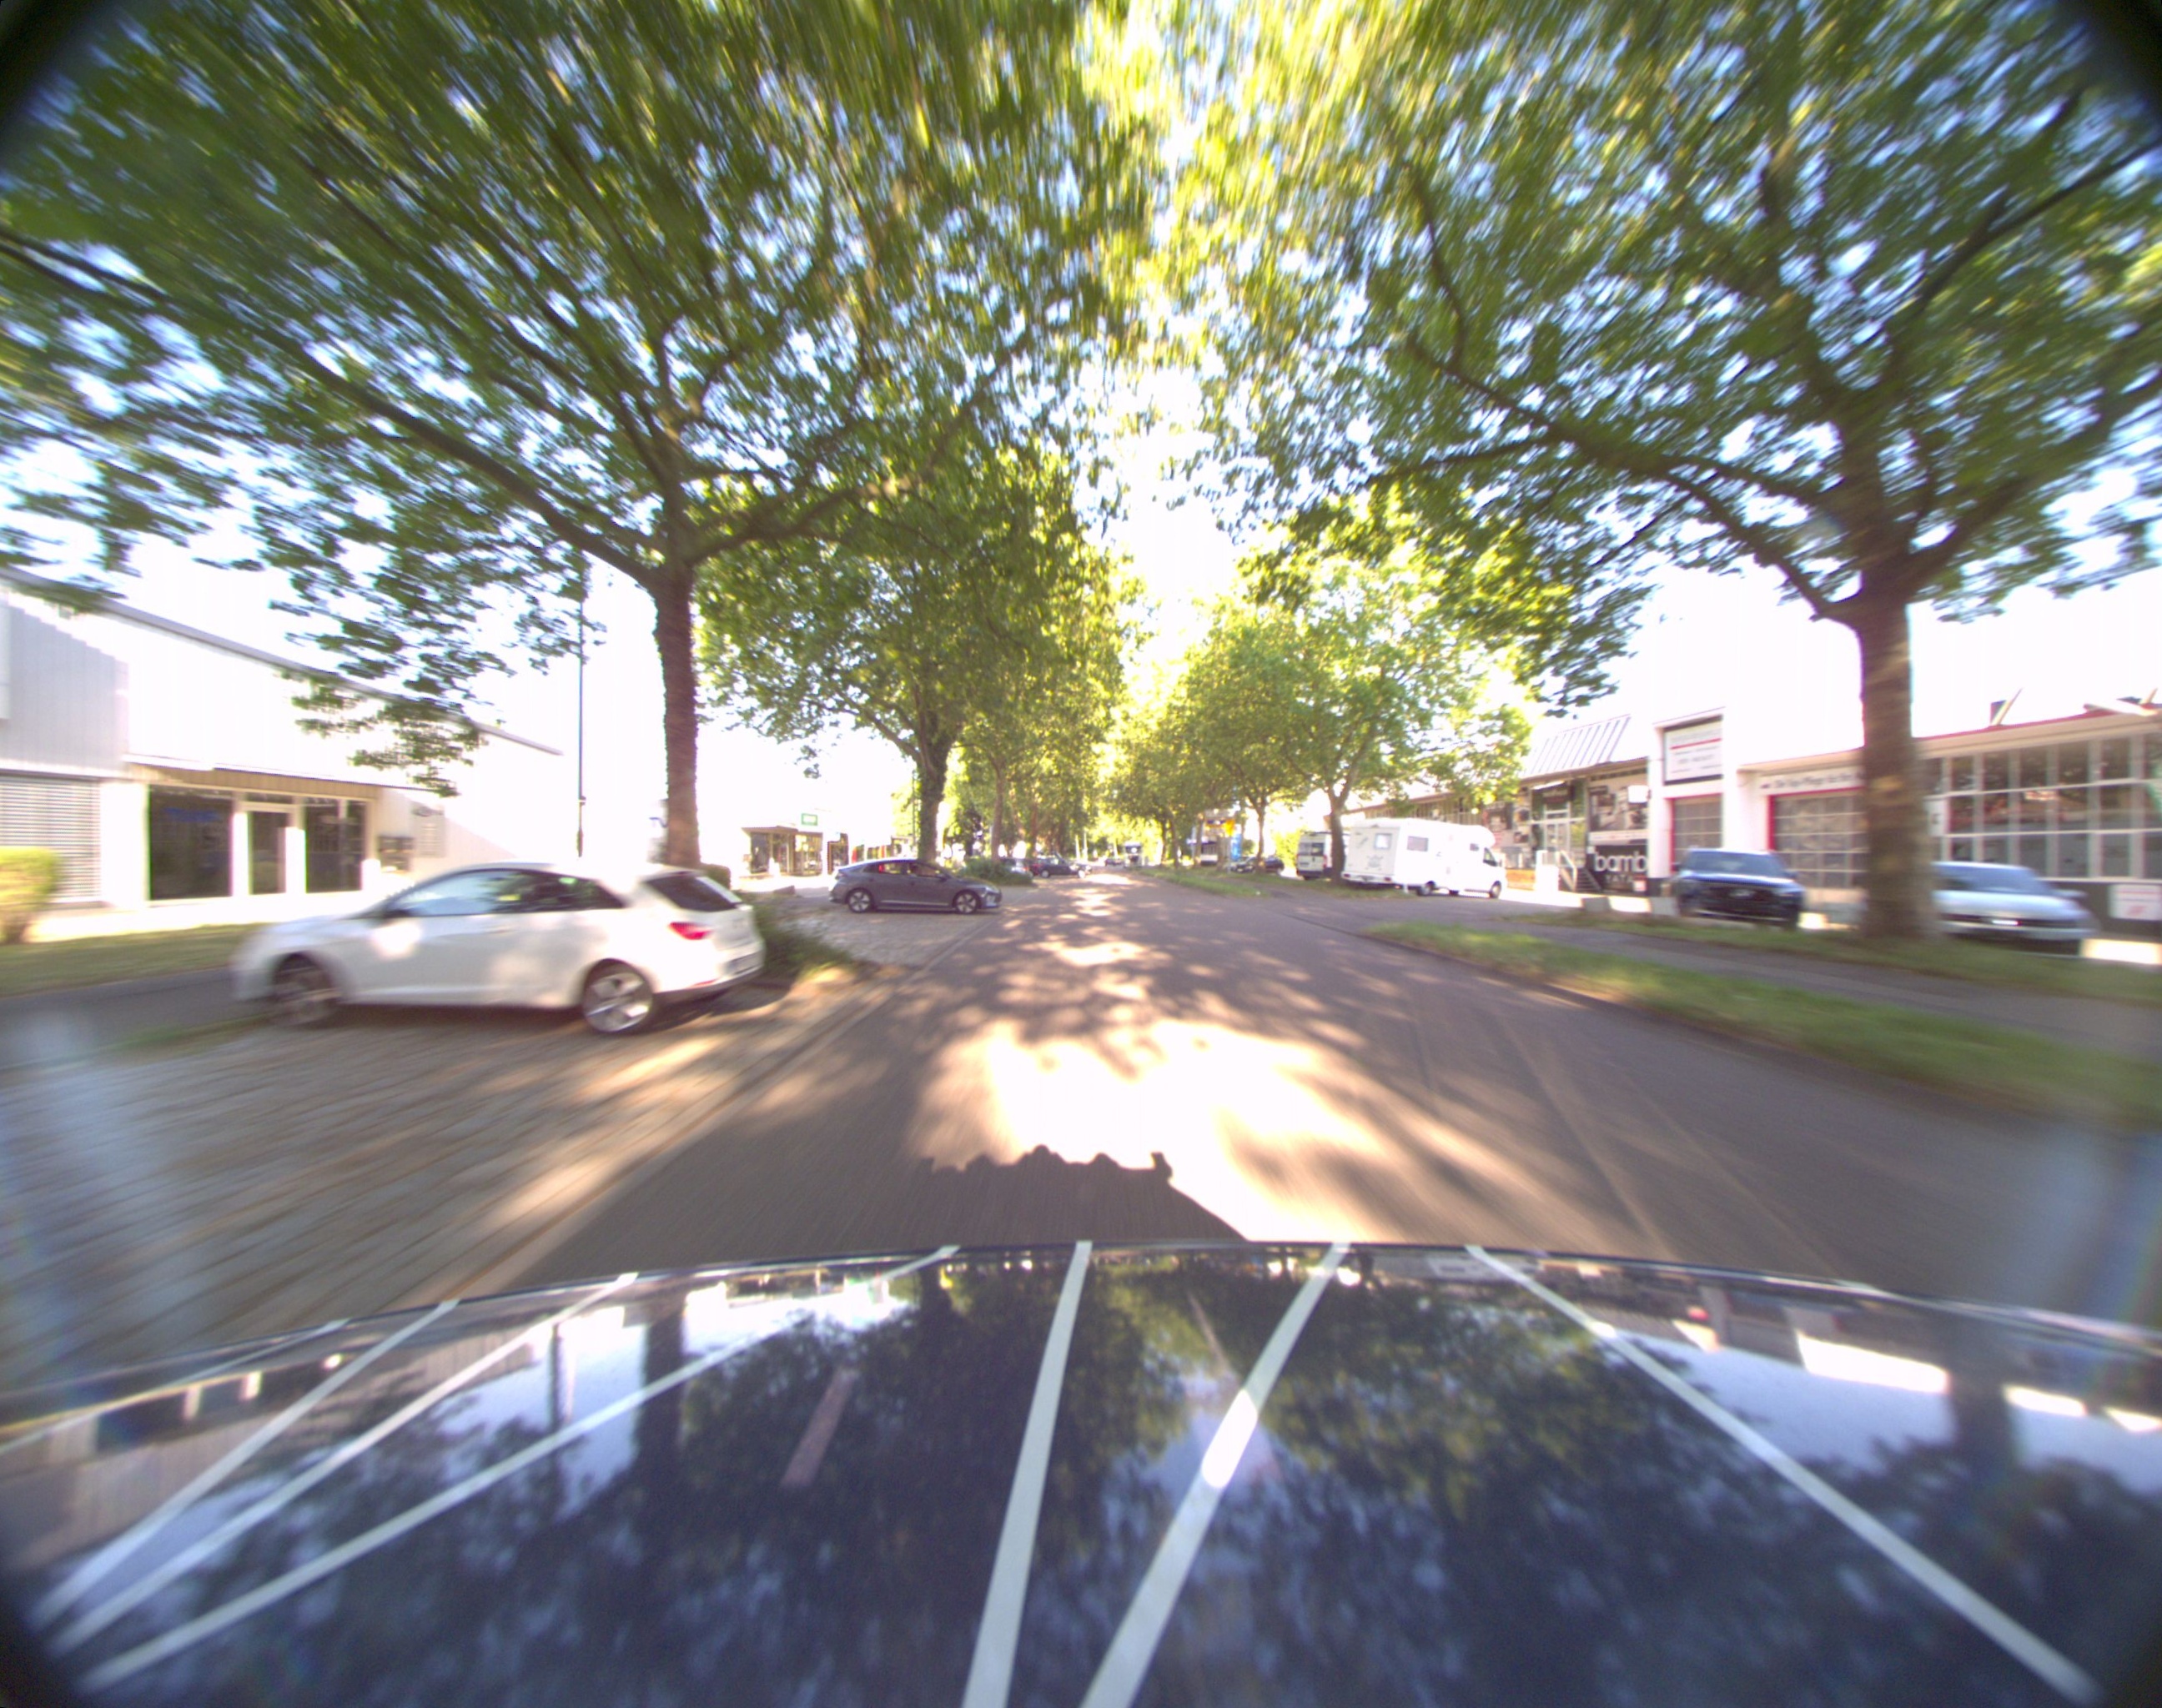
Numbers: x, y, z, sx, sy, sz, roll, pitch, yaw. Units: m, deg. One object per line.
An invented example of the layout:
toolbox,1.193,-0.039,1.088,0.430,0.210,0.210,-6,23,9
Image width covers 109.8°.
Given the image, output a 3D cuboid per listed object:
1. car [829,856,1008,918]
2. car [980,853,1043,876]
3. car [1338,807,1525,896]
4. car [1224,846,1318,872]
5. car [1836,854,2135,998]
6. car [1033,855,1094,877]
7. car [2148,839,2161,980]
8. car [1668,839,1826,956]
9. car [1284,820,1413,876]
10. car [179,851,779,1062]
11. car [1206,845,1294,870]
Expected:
car,-4.194,0.844,20.302,4.405,1.410,1.999,2,1,-5
car,-4.907,0.731,53.579,4.299,1.410,1.999,2,1,-5
car,13.276,0.005,28.627,6.972,2.835,2.596,3,-1,-28
car,14.532,0.387,58.142,6.429,1.669,2.722,3,-1,-18
car,12.835,0.864,11.145,1.994,1.561,4.059,-1,1,38
car,-1.288,0.848,56.173,4.296,1.410,2.000,2,1,3
car,13.188,0.741,7.838,4.321,1.741,1.994,-3,1,-43
car,12.563,0.687,14.607,1.994,1.829,4.257,-1,1,38
car,13.782,-0.240,39.027,6.338,2.482,2.595,3,-1,-29
car,-4.981,0.791,6.693,3.944,1.505,1.666,2,1,0
car,13.565,0.308,60.970,6.376,1.669,2.722,3,-1,-18
